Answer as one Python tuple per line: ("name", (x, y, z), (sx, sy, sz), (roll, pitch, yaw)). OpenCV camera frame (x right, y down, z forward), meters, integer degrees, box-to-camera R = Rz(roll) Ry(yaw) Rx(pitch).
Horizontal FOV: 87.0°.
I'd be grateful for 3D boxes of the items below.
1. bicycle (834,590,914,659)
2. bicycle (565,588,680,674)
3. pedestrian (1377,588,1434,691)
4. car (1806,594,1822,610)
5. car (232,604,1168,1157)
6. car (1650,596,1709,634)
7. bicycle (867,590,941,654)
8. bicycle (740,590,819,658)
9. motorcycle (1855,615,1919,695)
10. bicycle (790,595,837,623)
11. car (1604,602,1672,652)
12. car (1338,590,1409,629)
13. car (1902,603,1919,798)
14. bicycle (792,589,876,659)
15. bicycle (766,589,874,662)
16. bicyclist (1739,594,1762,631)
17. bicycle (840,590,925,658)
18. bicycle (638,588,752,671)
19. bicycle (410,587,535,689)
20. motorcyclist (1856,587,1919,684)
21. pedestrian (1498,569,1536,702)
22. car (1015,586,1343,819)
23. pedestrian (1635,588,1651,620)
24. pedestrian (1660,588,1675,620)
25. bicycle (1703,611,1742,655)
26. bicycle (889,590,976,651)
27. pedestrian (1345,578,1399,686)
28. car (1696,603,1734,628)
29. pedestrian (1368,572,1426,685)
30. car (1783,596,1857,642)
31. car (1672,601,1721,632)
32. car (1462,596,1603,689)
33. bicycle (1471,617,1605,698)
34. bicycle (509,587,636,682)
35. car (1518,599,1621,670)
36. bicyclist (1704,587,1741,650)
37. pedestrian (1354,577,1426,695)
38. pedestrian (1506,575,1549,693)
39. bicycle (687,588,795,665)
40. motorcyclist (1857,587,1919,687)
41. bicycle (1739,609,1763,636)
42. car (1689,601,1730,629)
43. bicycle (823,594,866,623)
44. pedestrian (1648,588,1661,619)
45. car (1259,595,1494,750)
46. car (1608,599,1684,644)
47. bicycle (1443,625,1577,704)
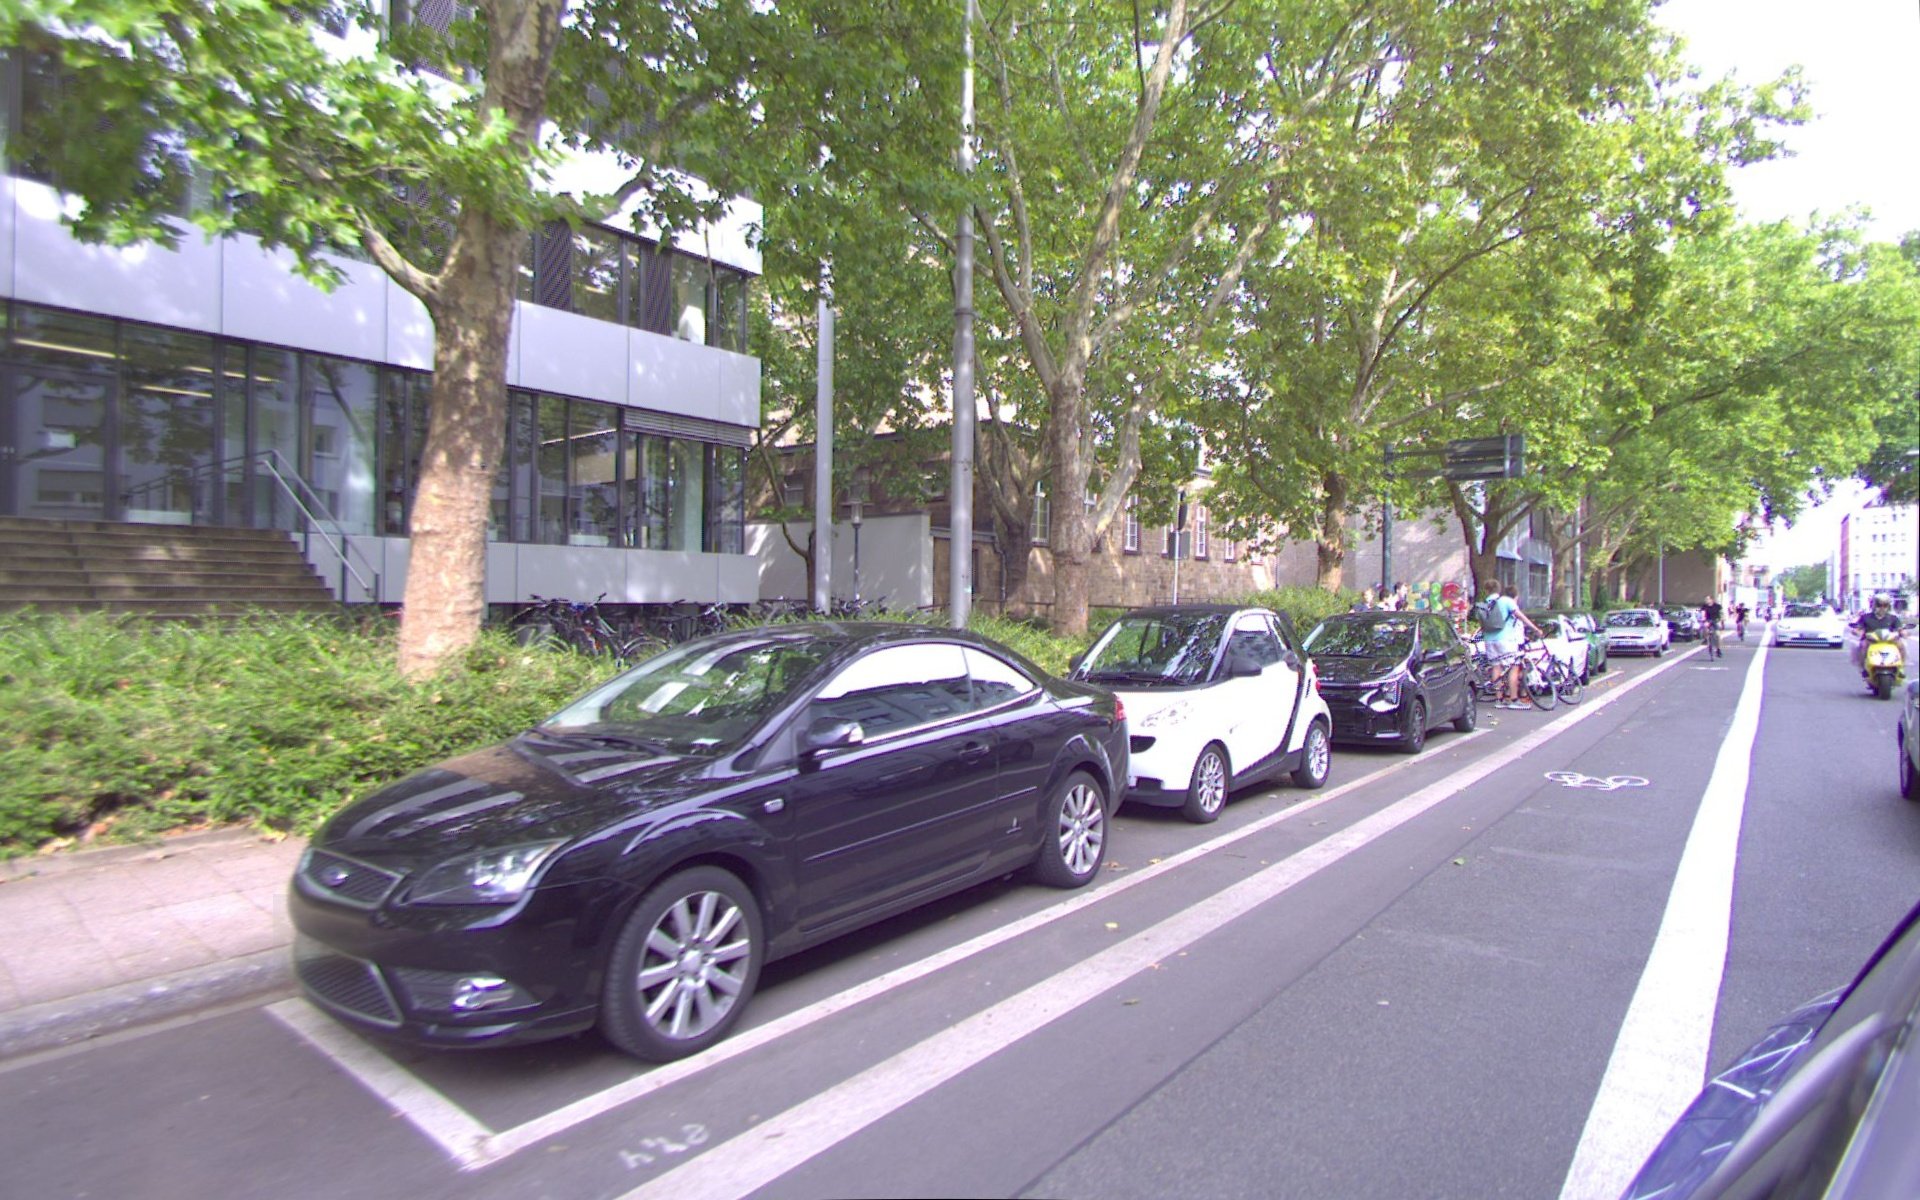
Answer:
("bicycle", (-1.502, 0.409, 17.608), (1.373, 1.131, 0.463), (2, 1, 33))
("bicycle", (-4.902, 0.412, 14.635), (1.913, 1.131, 0.663), (2, 1, 40))
("pedestrian", (7.465, 0.644, 16.959), (0.720, 1.679, 0.645), (-1, -1, 40))
("car", (140.715, 0.312, 166.765), (1.991, 2.593, 4.729), (0, 0, 40))
("car", (-0.712, 0.763, 4.960), (1.693, 1.443, 4.363), (-1, -1, 37))
("car", (32.406, 0.672, 45.531), (1.916, 1.642, 4.419), (-2, -1, 38))
("bicycle", (-1.076, 0.396, 19.225), (1.442, 1.131, 0.462), (2, 1, 38))
("bicycle", (-3.123, 0.394, 17.614), (0.489, 1.131, 1.420), (2, 1, 34))
("motorcycle", (15.679, 0.885, 17.008), (0.901, 1.212, 2.592), (0, 0, 40))
("bicycle", (-4.941, 0.288, 34.141), (1.599, 0.889, 0.477), (-3, 2, -44))
("car", (21.235, 0.807, 31.668), (1.637, 1.466, 3.833), (-2, -1, 35))
("car", (17.190, 0.424, 41.947), (1.665, 1.468, 4.237), (0, -2, 38))
("car", (7.330, 0.747, 6.419), (1.710, 1.439, 4.192), (0, 0, 39))
("bicycle", (-2.174, 0.401, 17.393), (1.368, 1.131, 0.507), (2, 1, 26))
("bicycle", (-2.314, 0.401, 16.763), (1.679, 1.131, 0.618), (2, 1, 22))
("bicyclist", (35.042, 0.553, 44.843), (0.746, 1.620, 0.807), (-1, -1, 40))
("bicycle", (-1.400, 0.405, 18.097), (1.533, 1.131, 0.463), (2, 1, 33))
("bicycle", (-4.000, 0.403, 15.189), (1.913, 1.131, 0.663), (2, 1, 40))
("bicycle", (-6.060, 0.430, 12.538), (1.913, 1.131, 0.663), (2, 1, 40))
("motorcyclist", (16.148, 0.596, 17.535), (0.901, 1.638, 0.681), (0, 0, 41))
("pedestrian", (8.441, 0.520, 15.339), (0.472, 1.959, 0.737), (-1, -1, 29))
("car", (1.853, 0.695, 8.265), (1.535, 1.563, 2.559), (-1, -1, 42))
("pedestrian", (41.032, 0.226, 60.795), (0.641, 1.855, 0.636), (5, 3, 39))
("pedestrian", (41.967, 0.227, 60.034), (0.590, 1.807, 0.469), (5, 3, 39))
("bicycle", (21.222, 0.892, 28.151), (0.760, 1.183, 1.921), (-1, -1, 40))
("bicycle", (-0.556, 0.391, 20.107), (1.668, 1.131, 0.597), (2, 1, 34))
("pedestrian", (7.420, 0.563, 18.228), (0.720, 1.879, 0.693), (-1, -1, 40))
("car", (45.651, 0.907, 61.177), (1.596, 1.465, 4.045), (-2, -1, 40))
("pedestrian", (8.034, 0.510, 18.607), (0.792, 2.023, 0.739), (-1, -1, 40))
("car", (32.066, 0.660, 37.823), (1.992, 1.585, 4.486), (0, 0, 39))
("car", (36.190, 0.805, 49.674), (1.637, 1.451, 4.507), (-2, -1, 40))
("car", (10.837, 0.726, 19.002), (1.676, 1.535, 4.483), (-2, -2, 37))
("bicycle", (9.131, 0.885, 16.055), (1.774, 1.233, 0.549), (-1, -1, 23))
("bicycle", (-5.206, 0.419, 13.541), (2.077, 1.131, 0.663), (2, 1, 40))
("car", (13.947, 0.741, 23.071), (1.583, 1.468, 3.754), (-2, -2, 37))
("bicyclist", (21.279, 0.507, 28.225), (0.761, 1.730, 0.904), (-1, -1, 40))
("pedestrian", (6.963, 0.568, 16.381), (0.869, 1.840, 0.769), (-1, -1, 40))
("pedestrian", (9.166, 0.537, 16.371), (0.516, 1.869, 0.738), (-1, -1, 25))
("bicycle", (-3.521, 0.395, 16.190), (1.913, 1.131, 0.663), (2, 1, 40))
("motorcyclist", (15.688, 0.602, 17.009), (0.901, 1.638, 0.681), (0, 0, 41))
("bicycle", (35.030, 0.979, 44.837), (0.760, 1.183, 1.921), (-1, -1, 40))
("car", (42.404, 0.813, 57.233), (1.596, 1.524, 4.376), (-2, -1, 40))
("bicycle", (-3.848, 0.271, 33.698), (0.500, 0.889, 1.620), (-2, 2, -45))
("pedestrian", (41.478, 0.219, 60.462), (0.500, 1.807, 0.520), (5, 3, 39))
("car", (4.968, 0.716, 11.825), (1.526, 1.521, 3.607), (-1, -1, 40))
("car", (23.964, 0.732, 35.317), (1.752, 1.466, 4.157), (-2, -1, 40))
("bicycle", (8.216, 0.944, 15.176), (1.725, 1.119, 0.546), (-1, -1, 30))
